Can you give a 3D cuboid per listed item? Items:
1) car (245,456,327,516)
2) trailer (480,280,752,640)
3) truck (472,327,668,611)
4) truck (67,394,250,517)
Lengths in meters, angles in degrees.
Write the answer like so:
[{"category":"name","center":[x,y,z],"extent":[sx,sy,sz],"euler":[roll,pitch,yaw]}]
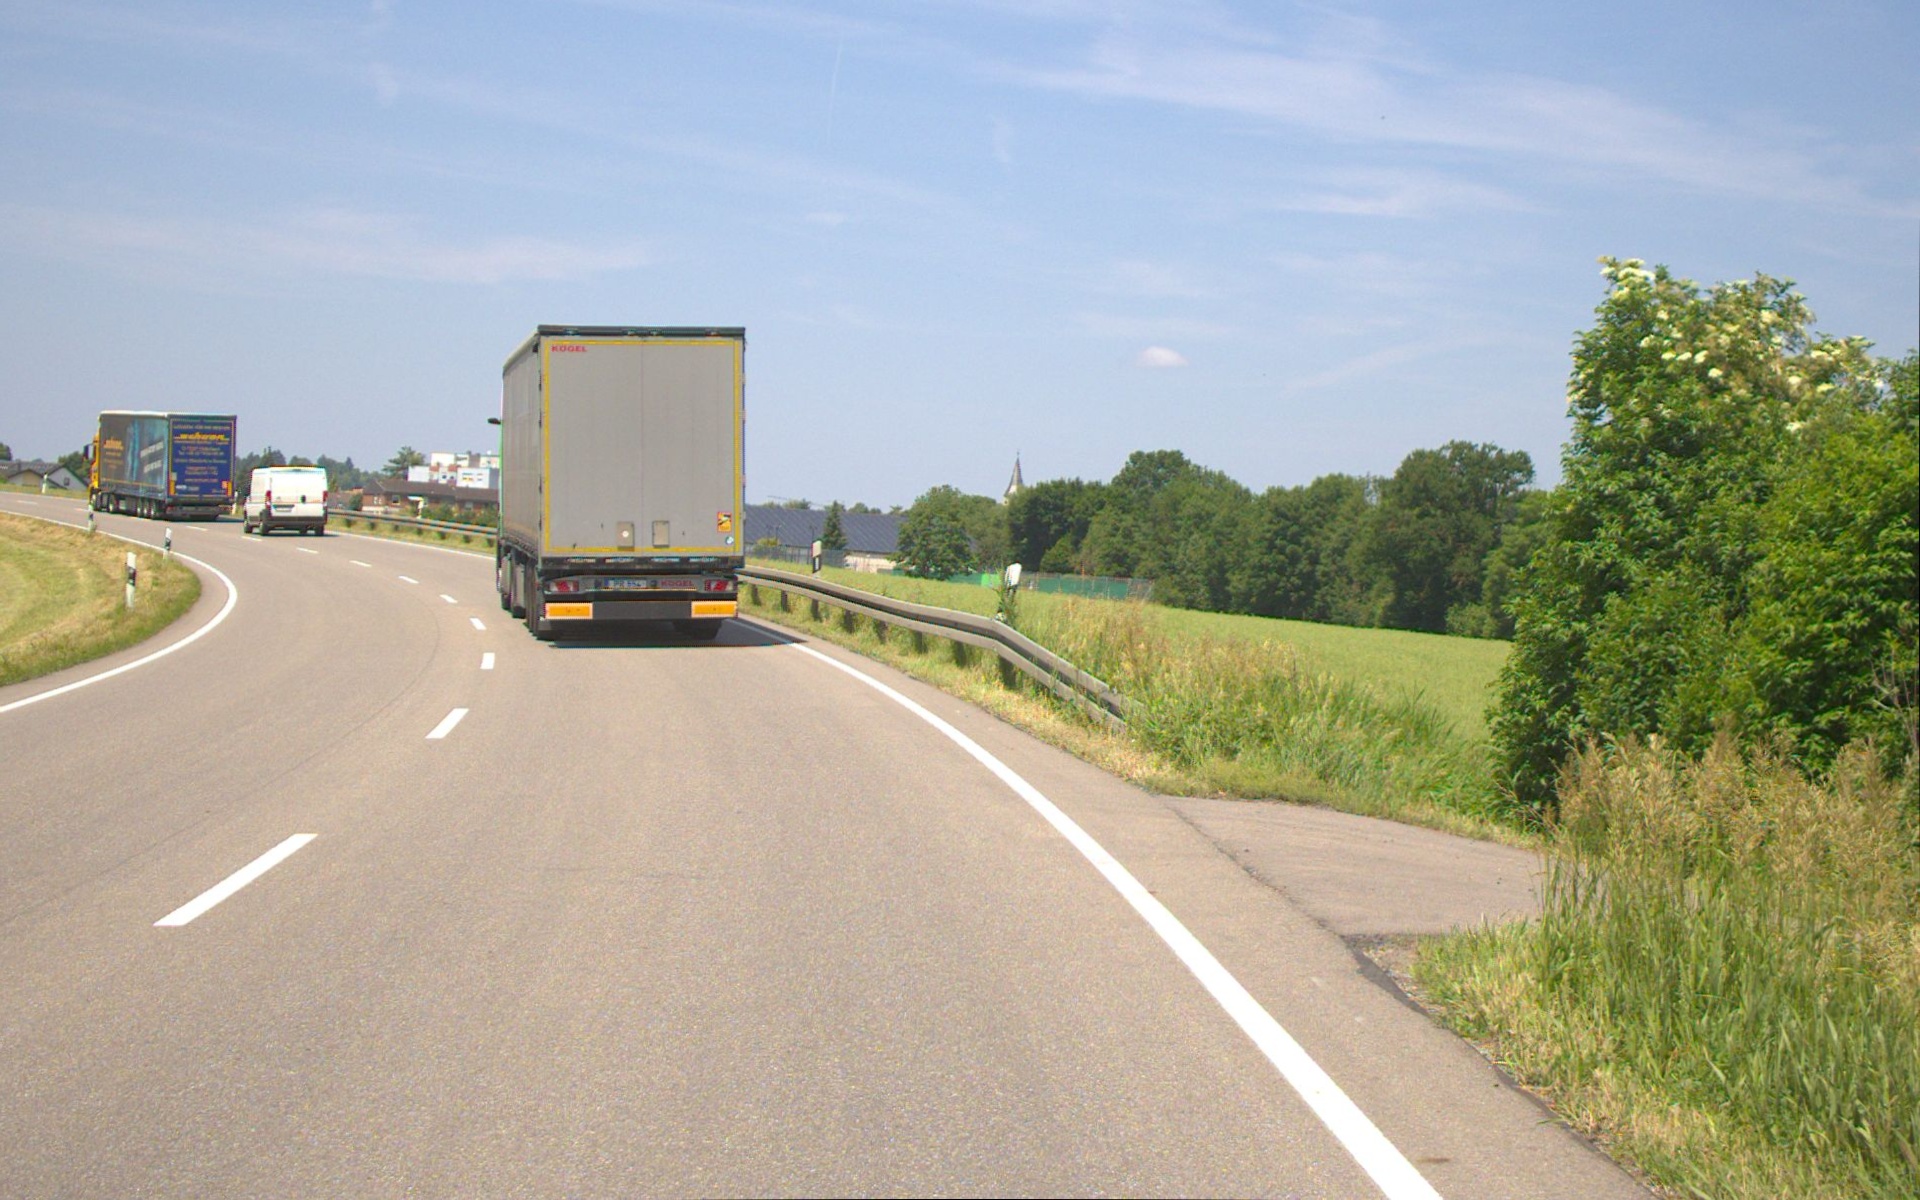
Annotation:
[{"category":"car","center":[-22.167,-3.712,112.900],"extent":[1.725,1.866,4.001],"euler":[1,0,-24]},{"category":"trailer","center":[-5.139,-1.889,48.796],"extent":[2.866,4.385,13.497],"euler":[0,2,-10]},{"category":"truck","center":[-6.400,-2.081,55.874],"extent":[2.858,4.385,5.073],"euler":[0,1,-10]},{"category":"truck","center":[-31.730,-5.679,135.206],"extent":[3.548,4.377,18.127],"euler":[2,1,-24]}]
